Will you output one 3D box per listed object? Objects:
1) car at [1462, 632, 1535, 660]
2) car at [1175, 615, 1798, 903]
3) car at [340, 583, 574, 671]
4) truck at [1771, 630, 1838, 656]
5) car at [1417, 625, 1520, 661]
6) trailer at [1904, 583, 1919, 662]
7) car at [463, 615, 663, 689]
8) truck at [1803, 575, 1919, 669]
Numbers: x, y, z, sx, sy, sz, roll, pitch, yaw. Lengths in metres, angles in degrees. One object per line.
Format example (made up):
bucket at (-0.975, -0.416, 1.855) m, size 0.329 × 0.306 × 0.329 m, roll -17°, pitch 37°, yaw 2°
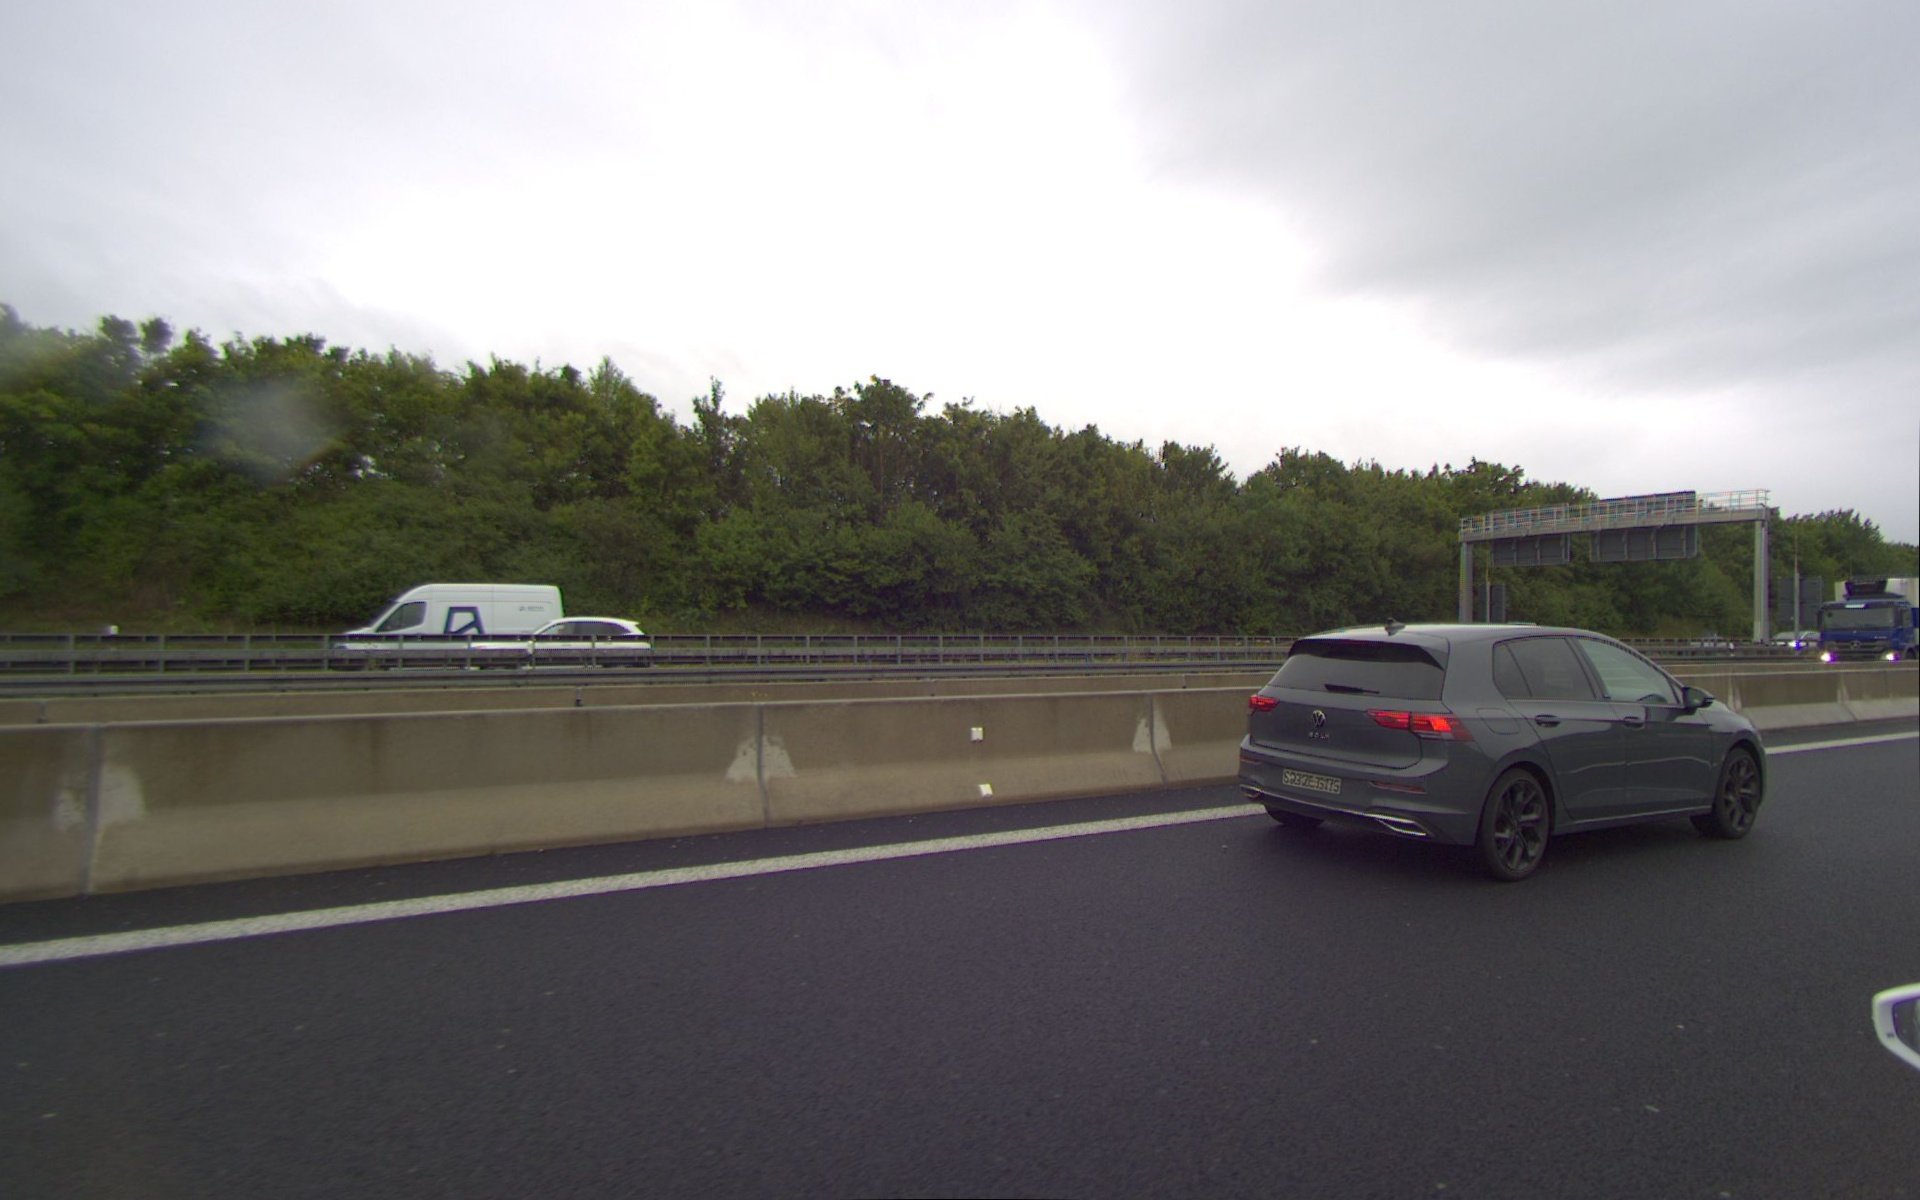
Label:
car at (28.236, 2.385, 52.657) m, size 4.068 × 1.387 × 1.525 m, roll 1°, pitch -1°, yaw -31°
car at (3.769, 0.878, 7.020) m, size 4.316 × 1.444 × 1.822 m, roll 2°, pitch 0°, yaw -30°
car at (-13.940, 0.766, 28.075) m, size 5.649 × 2.242 × 1.984 m, roll 1°, pitch -1°, yaw -31°
truck at (51.827, 2.612, 61.638) m, size 4.423 × 1.515 × 1.982 m, roll 2°, pitch -1°, yaw -33°
car at (23.386, 1.949, 46.138) m, size 4.632 × 1.558 × 1.985 m, roll 1°, pitch -1°, yaw -29°
trailer at (47.246, 1.154, 46.500) m, size 7.956 × 3.563 × 2.929 m, roll 2°, pitch 0°, yaw -30°
car at (-10.187, 1.304, 25.856) m, size 4.530 × 1.760 × 1.984 m, roll 1°, pitch -1°, yaw -31°
truck at (39.284, 0.949, 41.906) m, size 10.515 × 3.572 × 2.795 m, roll 2°, pitch 0°, yaw -30°
